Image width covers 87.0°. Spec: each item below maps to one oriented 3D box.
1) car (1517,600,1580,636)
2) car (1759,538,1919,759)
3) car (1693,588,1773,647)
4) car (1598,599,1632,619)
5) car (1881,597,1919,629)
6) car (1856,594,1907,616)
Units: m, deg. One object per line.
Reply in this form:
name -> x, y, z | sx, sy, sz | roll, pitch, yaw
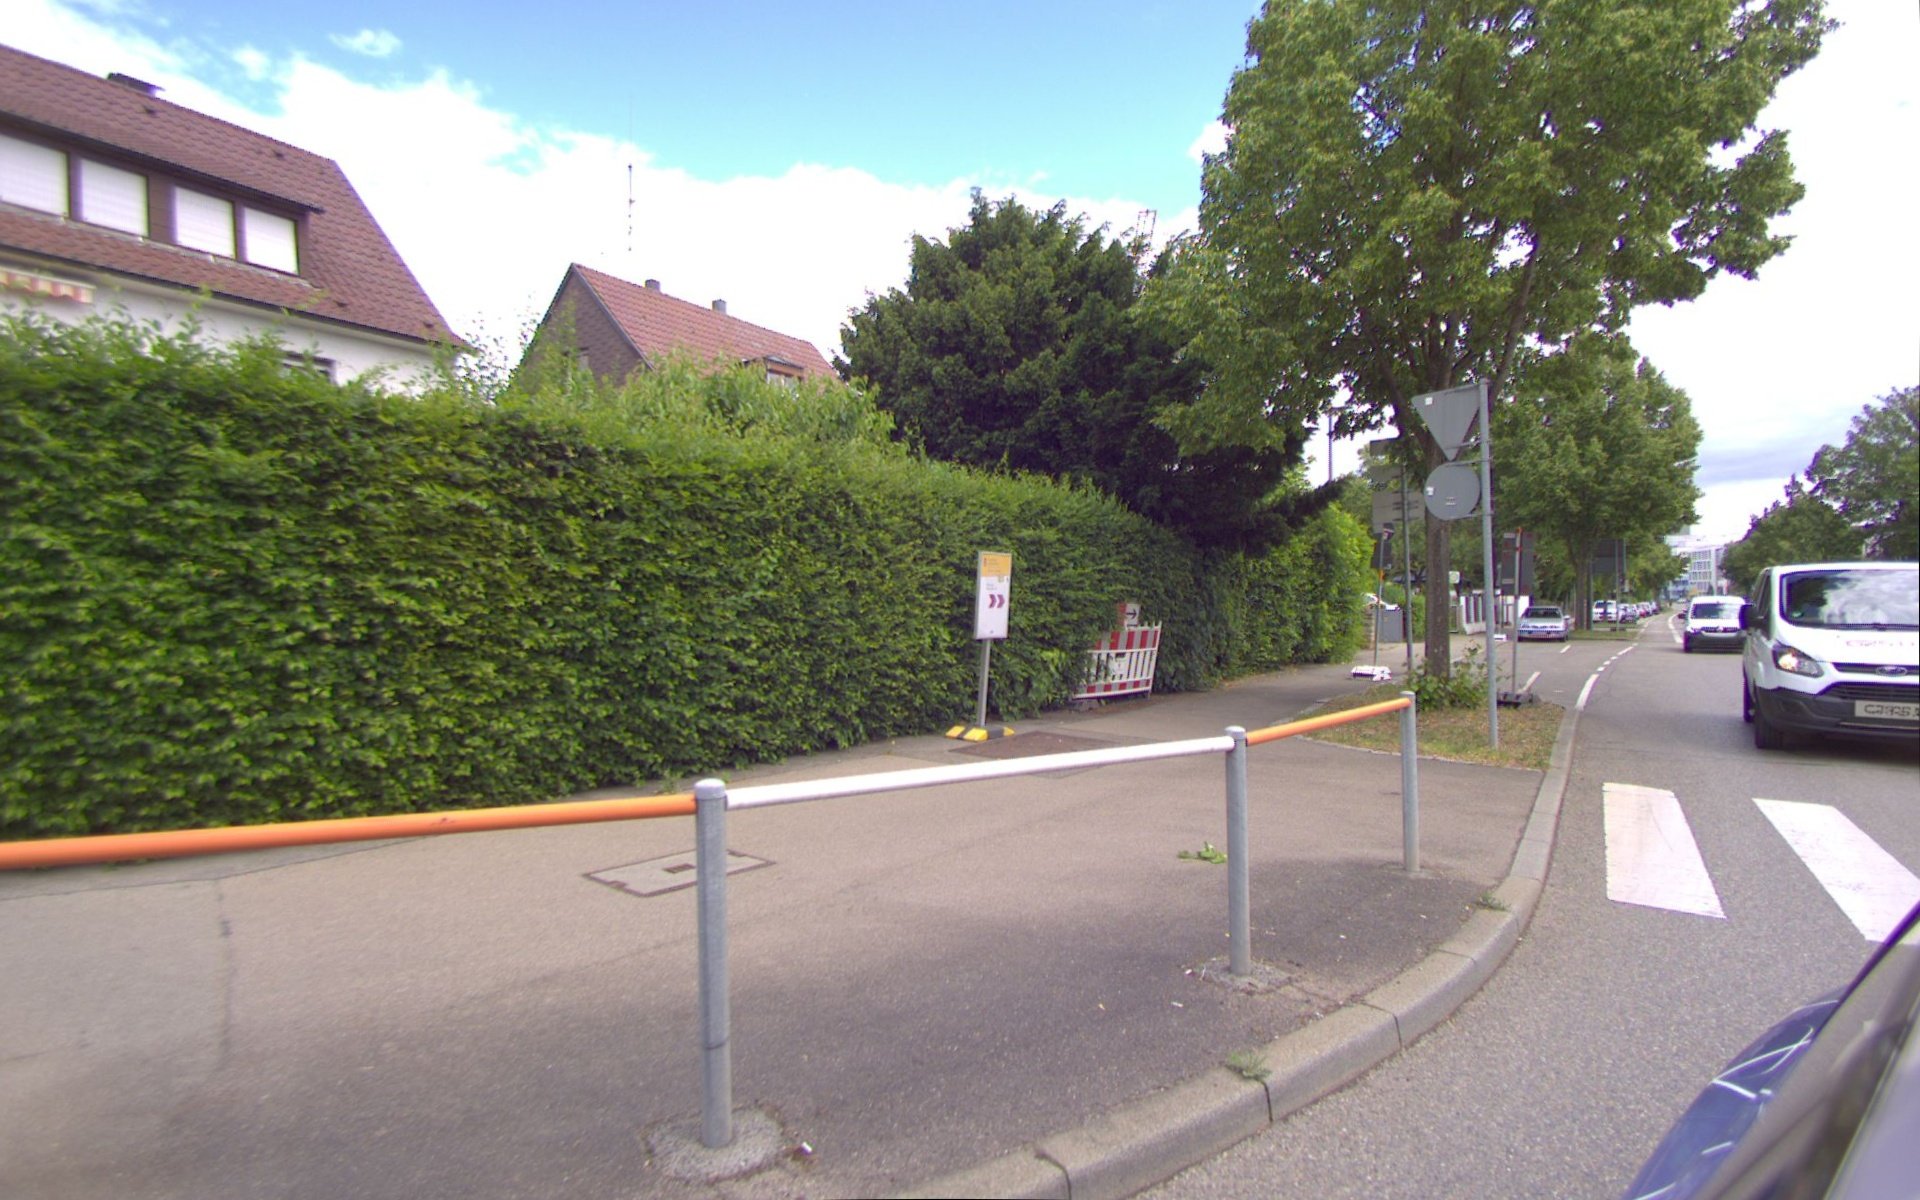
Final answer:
car -> 23.437, 0.687, 40.243 | 1.801, 1.359, 3.948 | 0, 0, 36
car -> 10.313, 0.441, 11.365 | 1.990, 2.039, 4.978 | -1, 0, 40
car -> 24.689, 0.511, 32.423 | 1.916, 1.776, 3.947 | -1, 0, 36
car -> 45.226, 0.612, 69.857 | 1.801, 1.359, 3.948 | 0, 0, 36
car -> 46.203, 0.595, 48.967 | 1.653, 1.494, 3.706 | 0, 0, 31
car -> 53.376, 0.284, 58.667 | 1.592, 1.242, 3.158 | 0, 0, 32
